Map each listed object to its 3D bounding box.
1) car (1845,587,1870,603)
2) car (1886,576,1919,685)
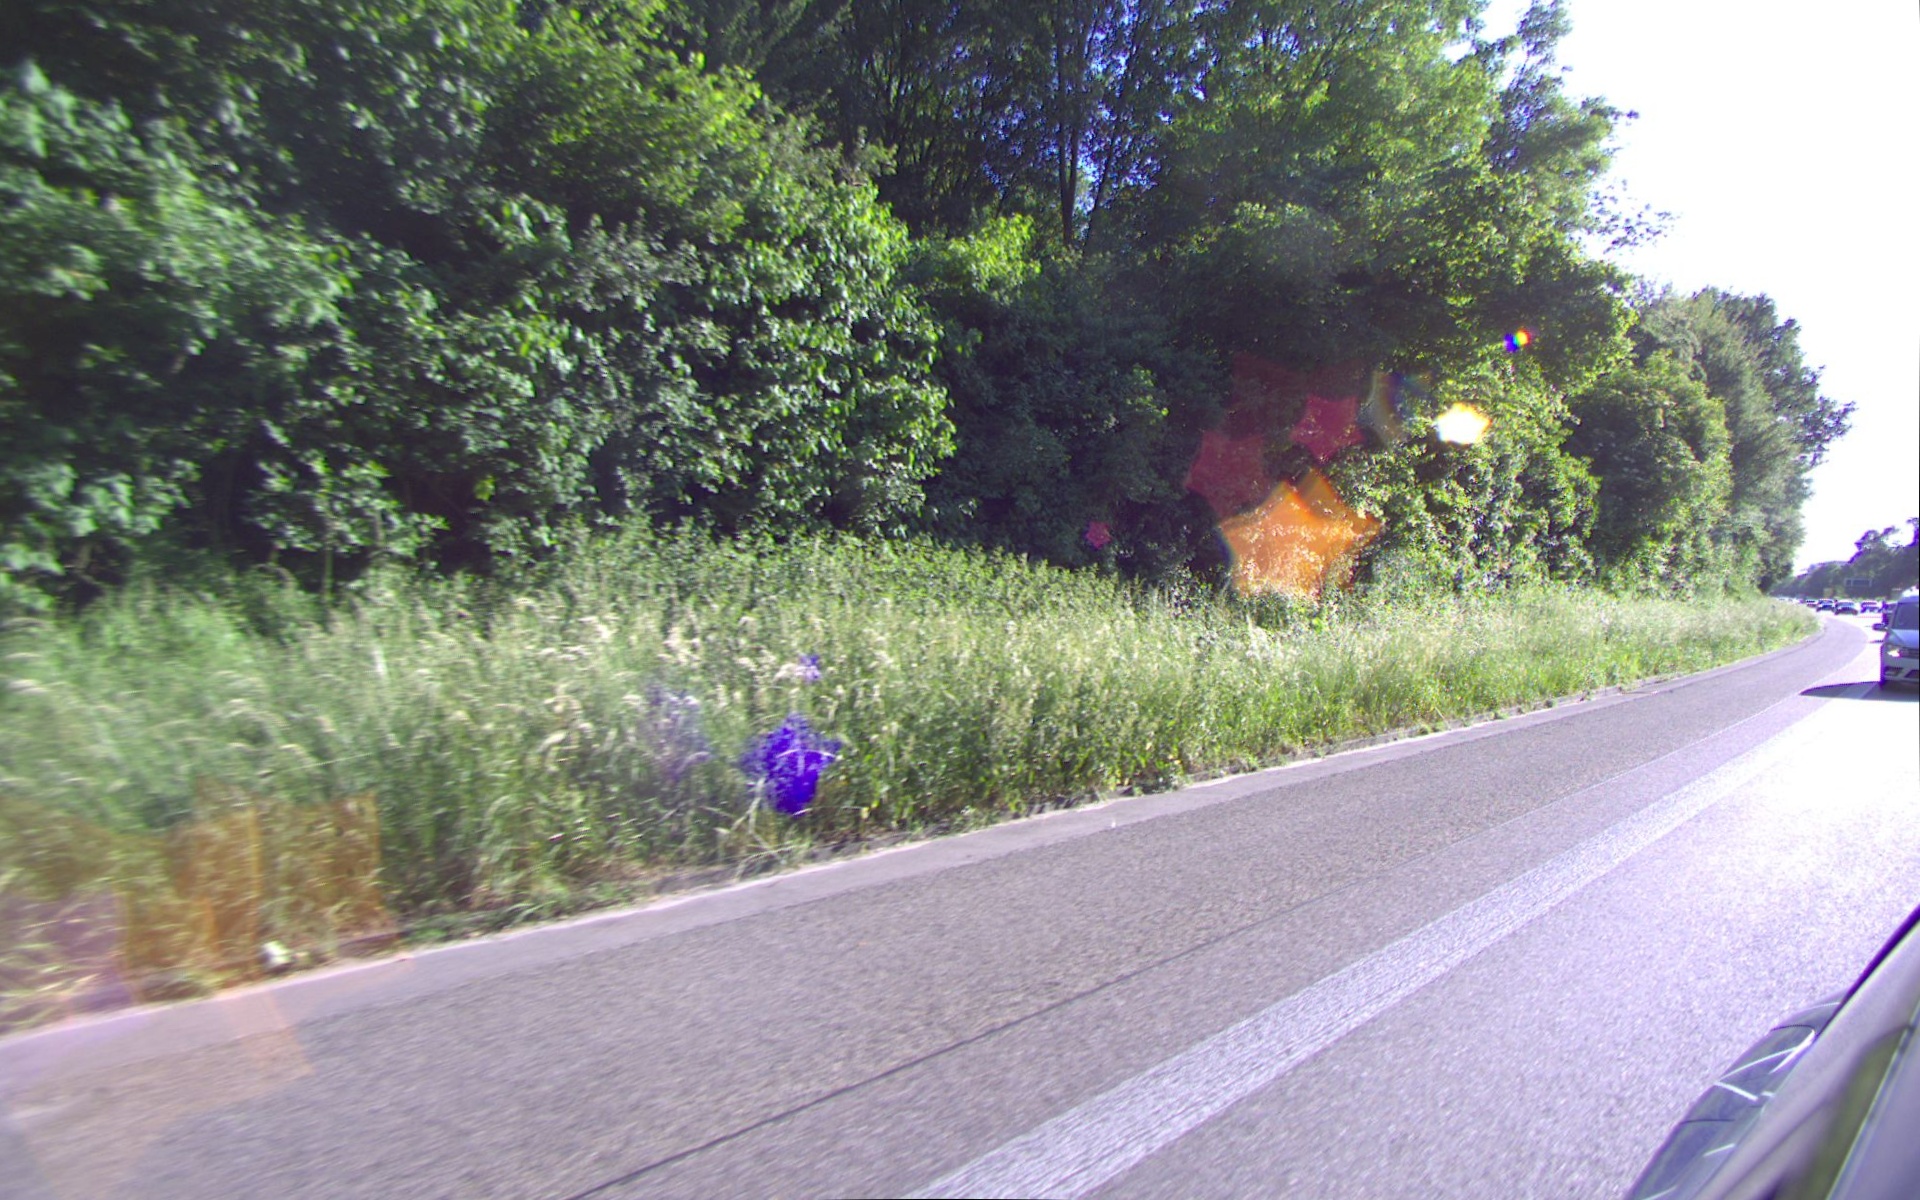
[{"bbox_3d":[94.800,-0.545,106.946,1.927,1.526,5.013,0,3,41],"label":"car"},{"bbox_3d":[18.087,0.502,18.204,4.753,1.829,1.797,0,1,-44],"label":"car"}]
